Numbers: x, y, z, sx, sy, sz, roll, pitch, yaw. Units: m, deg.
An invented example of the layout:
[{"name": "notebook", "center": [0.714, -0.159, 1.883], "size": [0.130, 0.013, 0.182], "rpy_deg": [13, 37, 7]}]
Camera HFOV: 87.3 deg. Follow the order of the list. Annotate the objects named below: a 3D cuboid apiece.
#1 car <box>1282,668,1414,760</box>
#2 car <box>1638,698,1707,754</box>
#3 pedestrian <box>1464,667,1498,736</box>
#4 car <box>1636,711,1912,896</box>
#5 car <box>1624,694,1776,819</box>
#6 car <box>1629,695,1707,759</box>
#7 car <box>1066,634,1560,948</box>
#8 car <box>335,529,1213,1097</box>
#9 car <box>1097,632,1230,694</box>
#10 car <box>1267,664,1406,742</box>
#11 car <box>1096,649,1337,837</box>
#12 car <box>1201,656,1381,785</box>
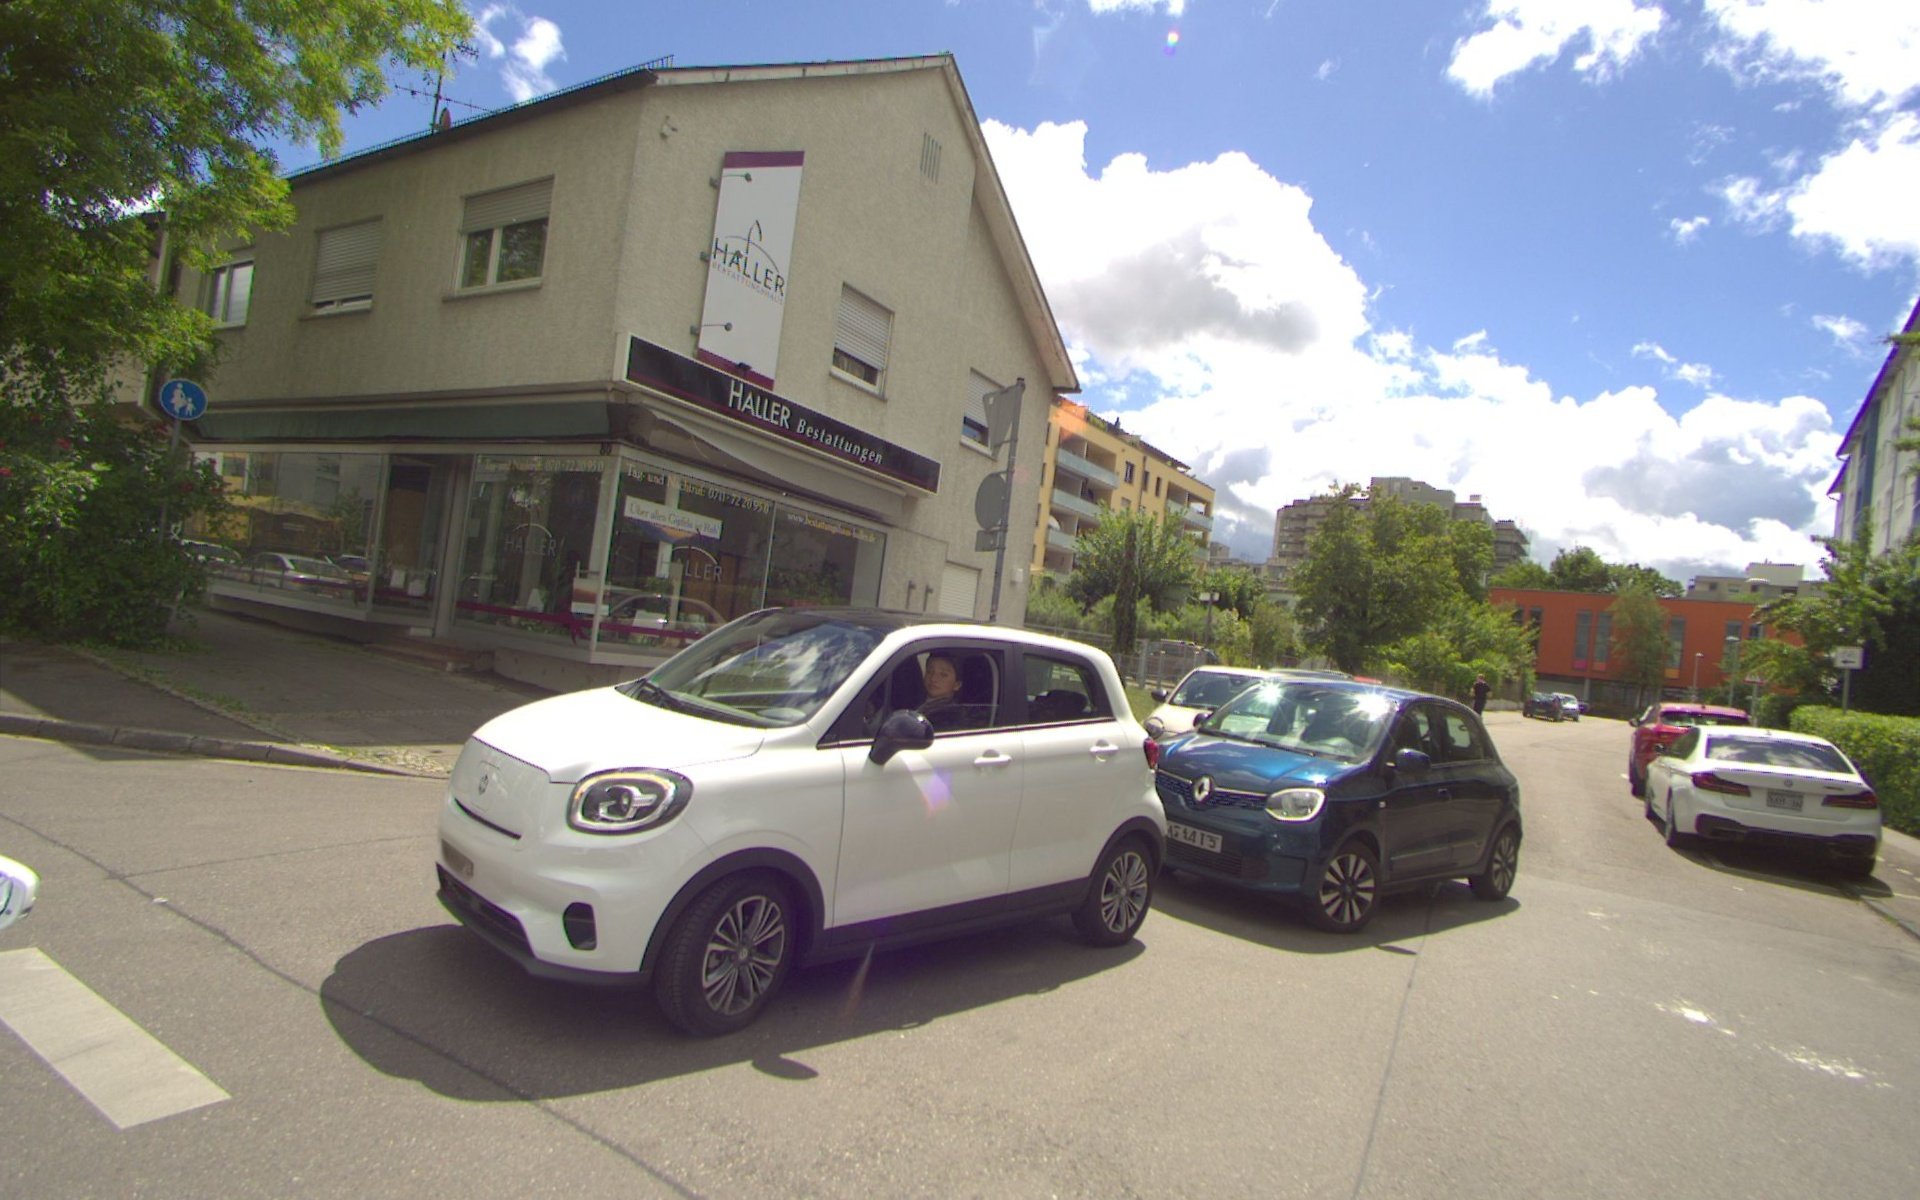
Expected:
[{"name": "car", "center": [7.917, 2.222, 20.284], "size": [1.766, 1.449, 4.313], "rpy_deg": [5, -1, 30]}, {"name": "car", "center": [26.899, 4.715, 37.897], "size": [1.824, 1.707, 5.449], "rpy_deg": [7, -1, 37]}, {"name": "pedestrian", "center": [15.370, 2.987, 29.665], "size": [0.669, 1.937, 0.573], "rpy_deg": [7, -2, 31]}, {"name": "car", "center": [9.815, 2.313, 12.544], "size": [1.821, 1.522, 4.531], "rpy_deg": [7, -1, 30]}, {"name": "car", "center": [13.148, 2.677, 18.108], "size": [1.797, 1.733, 4.237], "rpy_deg": [6, -1, 33]}, {"name": "car", "center": [23.308, 4.135, 33.212], "size": [1.823, 1.707, 4.526], "rpy_deg": [7, -1, 34]}, {"name": "car", "center": [2.741, 1.274, 7.444], "size": [3.624, 1.590, 1.821], "rpy_deg": [8, -2, -42]}, {"name": "car", "center": [-0.591, 0.745, 4.804], "size": [1.818, 1.590, 3.630], "rpy_deg": [6, -2, 44]}, {"name": "car", "center": [7.332, 2.252, 36.323], "size": [4.245, 1.767, 1.794], "rpy_deg": [5, -1, 27]}, {"name": "car", "center": [9.091, 2.456, 24.659], "size": [1.763, 1.449, 3.778], "rpy_deg": [6, -1, -2]}, {"name": "car", "center": [3.116, 1.513, 11.574], "size": [1.771, 1.537, 3.936], "rpy_deg": [7, -1, 26]}, {"name": "car", "center": [5.263, 1.783, 15.655], "size": [1.880, 1.590, 3.916], "rpy_deg": [4, -2, 29]}]
